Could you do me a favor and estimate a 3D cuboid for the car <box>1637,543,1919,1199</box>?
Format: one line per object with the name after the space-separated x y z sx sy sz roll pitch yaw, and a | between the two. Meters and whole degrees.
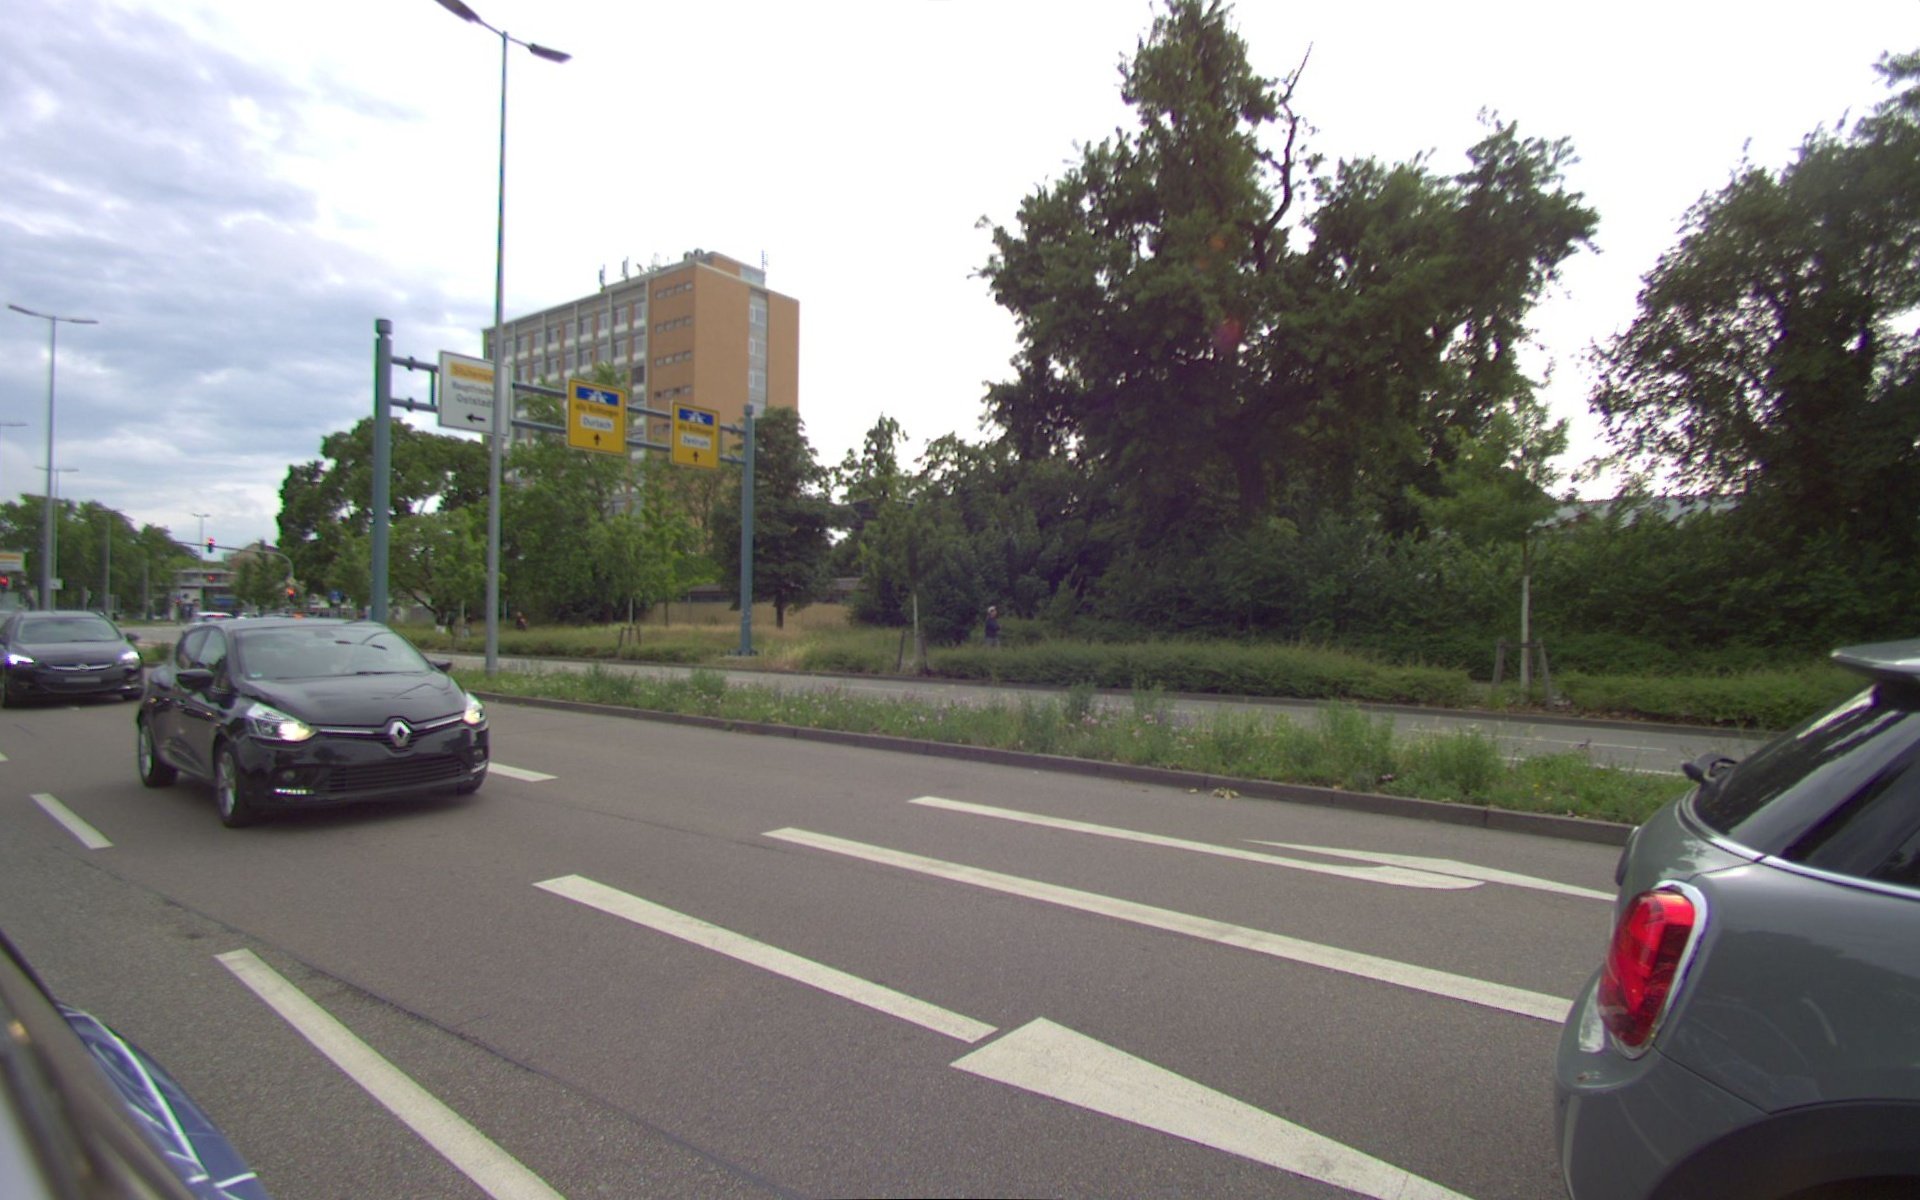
2.962 0.595 0.949 3.703 1.328 1.604 -1 -2 41 | car

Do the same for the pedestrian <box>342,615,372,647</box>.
-38.961 1.998 65.410 1.519 2.029 1.208 -1 0 40 | pedestrian

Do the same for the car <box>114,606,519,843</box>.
-5.375 0.812 8.250 3.998 1.470 1.709 -1 -2 41 | car

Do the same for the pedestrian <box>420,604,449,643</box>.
-28.322 1.250 54.522 1.218 2.029 0.872 -1 0 33 | pedestrian

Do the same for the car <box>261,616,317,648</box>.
-35.067 1.645 52.833 1.828 1.564 4.005 1 -1 -42 | car

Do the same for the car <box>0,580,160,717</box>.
-15.119 0.754 16.938 3.998 2.029 1.973 -1 -2 41 | car

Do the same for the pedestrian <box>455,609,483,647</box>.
-26.660 1.532 54.963 1.218 2.029 0.872 -1 0 33 | pedestrian

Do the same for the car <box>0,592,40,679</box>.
-24.226 0.848 24.819 3.998 2.029 1.973 -1 -2 41 | car

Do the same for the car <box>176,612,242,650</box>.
-37.861 1.538 51.018 3.998 1.786 1.869 0 0 41 | car

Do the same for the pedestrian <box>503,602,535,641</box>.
-22.612 1.092 51.923 1.163 1.933 1.122 -1 0 44 | pedestrian

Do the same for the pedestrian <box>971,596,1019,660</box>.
0.908 0.714 26.337 0.812 1.637 0.978 -1 0 38 | pedestrian
